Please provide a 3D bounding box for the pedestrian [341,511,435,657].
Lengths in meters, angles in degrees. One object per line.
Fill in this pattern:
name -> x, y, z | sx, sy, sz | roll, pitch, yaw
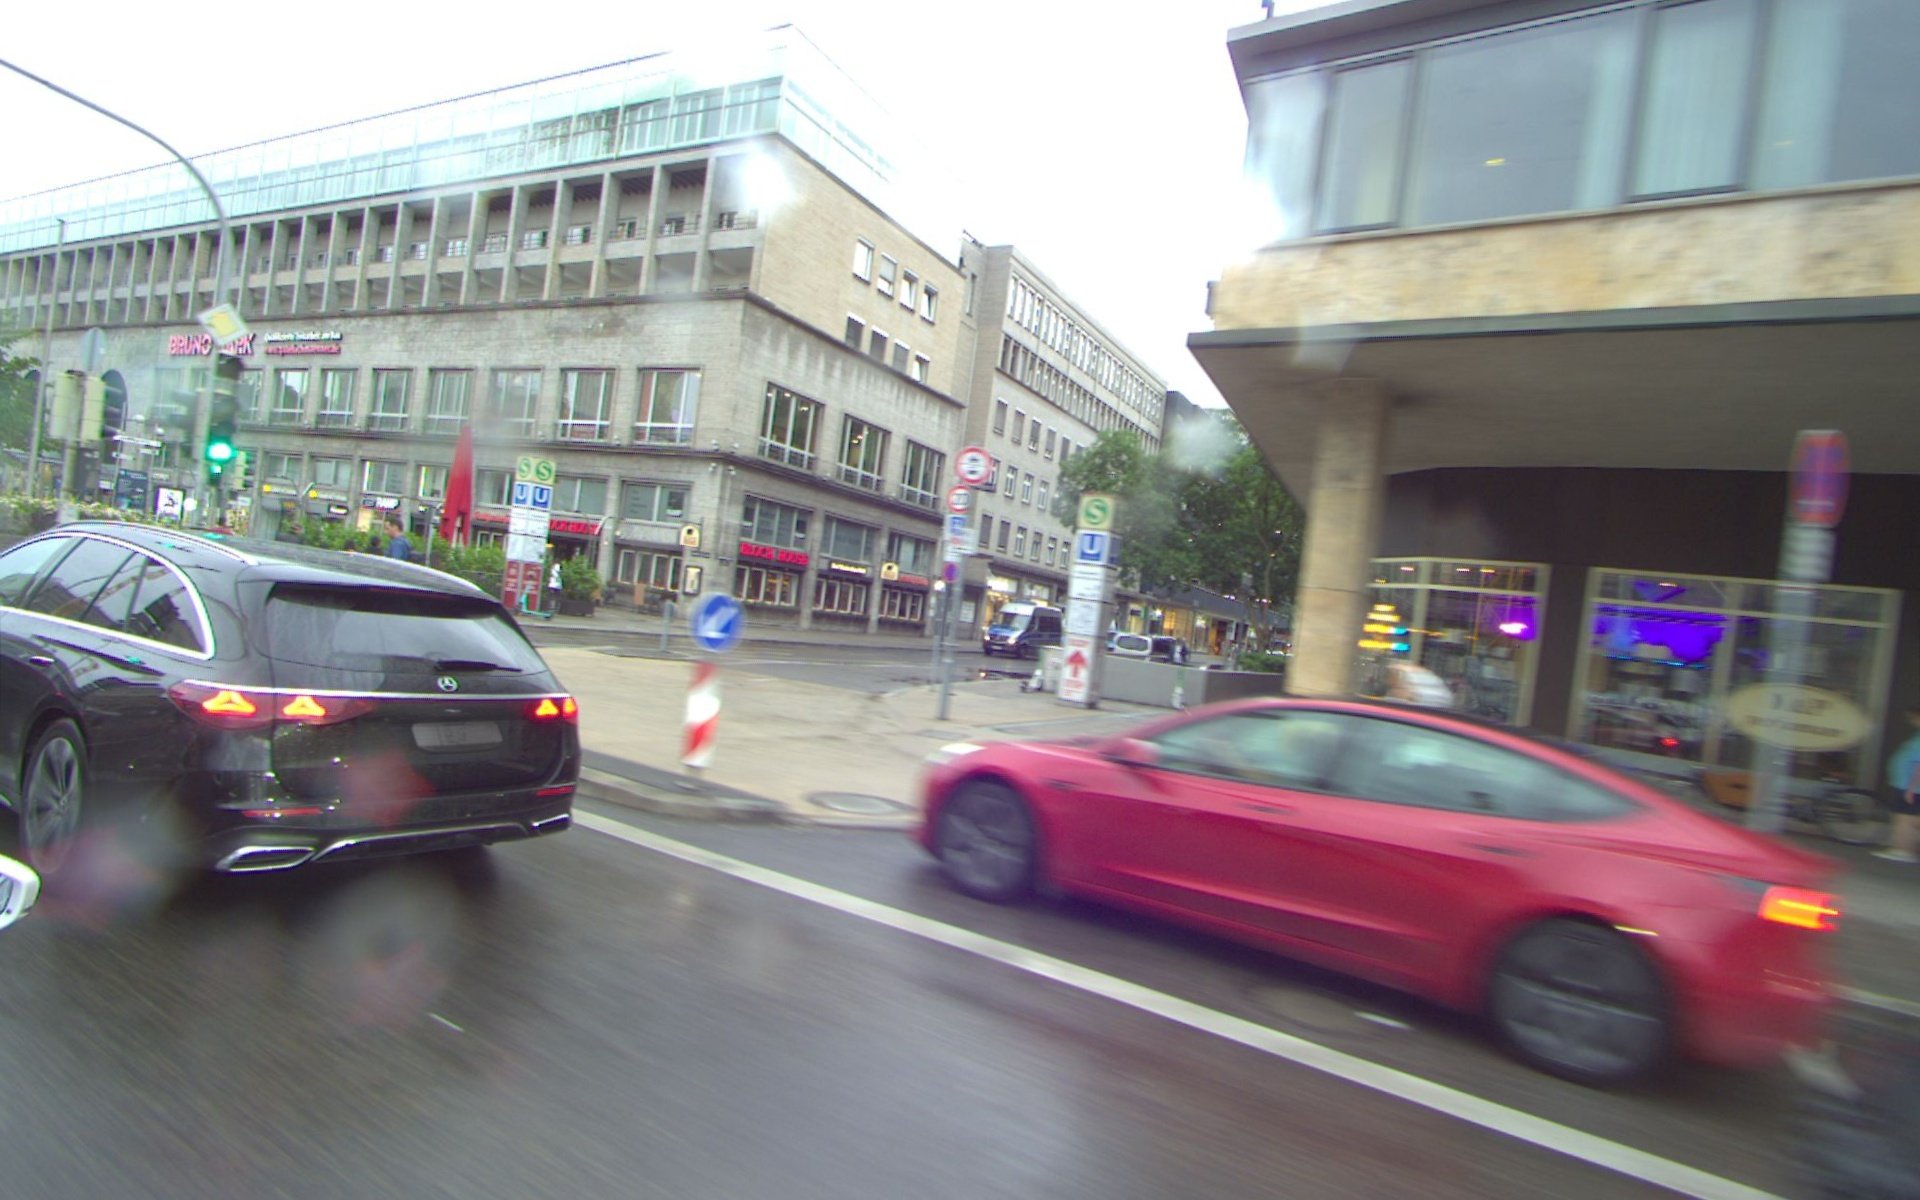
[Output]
pedestrian -> -7.494, -0.195, 13.202 | 0.768, 1.776, 0.503 | 7, -1, -15

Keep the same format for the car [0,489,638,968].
car -> -4.041, 0.345, 5.241 | 4.551, 1.518, 1.798 | 6, -3, 30

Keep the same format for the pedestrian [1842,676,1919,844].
pedestrian -> 10.928, 1.828, 11.335 | 1.114, 1.810, 0.802 | 7, -2, 14

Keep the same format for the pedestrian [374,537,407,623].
pedestrian -> -12.104, -0.430, 21.381 | 0.477, 1.774, 0.661 | 5, 1, -30

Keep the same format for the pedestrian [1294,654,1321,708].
pedestrian -> 11.622, 2.705, 33.636 | 0.607, 1.719, 0.574 | 6, -2, 31

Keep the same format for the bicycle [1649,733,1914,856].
bicycle -> 10.213, 2.394, 12.655 | 2.431, 1.058, 0.657 | 6, -2, 32

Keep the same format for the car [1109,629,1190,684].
car -> 8.358, 2.522, 43.988 | 1.966, 1.994, 4.639 | 7, -1, 29

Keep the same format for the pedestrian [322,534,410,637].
pedestrian -> -10.835, -0.248, 18.379 | 0.642, 1.774, 1.097 | 6, 1, 29

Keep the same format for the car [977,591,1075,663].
car -> 3.277, 1.388, 48.508 | 1.966, 2.792, 6.184 | 6, -3, 30

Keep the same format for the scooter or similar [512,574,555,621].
scooter or similar -> -12.105, -0.069, 28.557 | 1.000, 1.203, 0.291 | 7, -1, 13

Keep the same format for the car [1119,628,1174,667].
car -> 12.274, 3.138, 65.934 | 1.965, 2.065, 4.835 | 6, -3, 28

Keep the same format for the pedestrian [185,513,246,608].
pedestrian -> -14.757, -0.765, 19.960 | 0.561, 1.772, 0.679 | 7, -2, -16

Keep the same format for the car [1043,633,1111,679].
car -> 6.472, 3.087, 55.161 | 1.966, 2.065, 4.558 | 6, -3, 29

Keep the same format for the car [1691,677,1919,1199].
car -> 3.415, 1.119, 0.858 | 4.271, 1.518, 1.883 | 6, -3, 32

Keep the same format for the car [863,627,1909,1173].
car -> 1.884, 1.195, 5.549 | 4.451, 1.503, 1.879 | 6, -3, 31

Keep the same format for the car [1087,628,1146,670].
car -> 9.551, 3.018, 61.073 | 1.966, 2.065, 4.484 | 6, -3, 29

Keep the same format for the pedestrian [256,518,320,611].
pedestrian -> -13.525, -0.705, 20.252 | 0.458, 1.737, 0.757 | 6, -2, 28
